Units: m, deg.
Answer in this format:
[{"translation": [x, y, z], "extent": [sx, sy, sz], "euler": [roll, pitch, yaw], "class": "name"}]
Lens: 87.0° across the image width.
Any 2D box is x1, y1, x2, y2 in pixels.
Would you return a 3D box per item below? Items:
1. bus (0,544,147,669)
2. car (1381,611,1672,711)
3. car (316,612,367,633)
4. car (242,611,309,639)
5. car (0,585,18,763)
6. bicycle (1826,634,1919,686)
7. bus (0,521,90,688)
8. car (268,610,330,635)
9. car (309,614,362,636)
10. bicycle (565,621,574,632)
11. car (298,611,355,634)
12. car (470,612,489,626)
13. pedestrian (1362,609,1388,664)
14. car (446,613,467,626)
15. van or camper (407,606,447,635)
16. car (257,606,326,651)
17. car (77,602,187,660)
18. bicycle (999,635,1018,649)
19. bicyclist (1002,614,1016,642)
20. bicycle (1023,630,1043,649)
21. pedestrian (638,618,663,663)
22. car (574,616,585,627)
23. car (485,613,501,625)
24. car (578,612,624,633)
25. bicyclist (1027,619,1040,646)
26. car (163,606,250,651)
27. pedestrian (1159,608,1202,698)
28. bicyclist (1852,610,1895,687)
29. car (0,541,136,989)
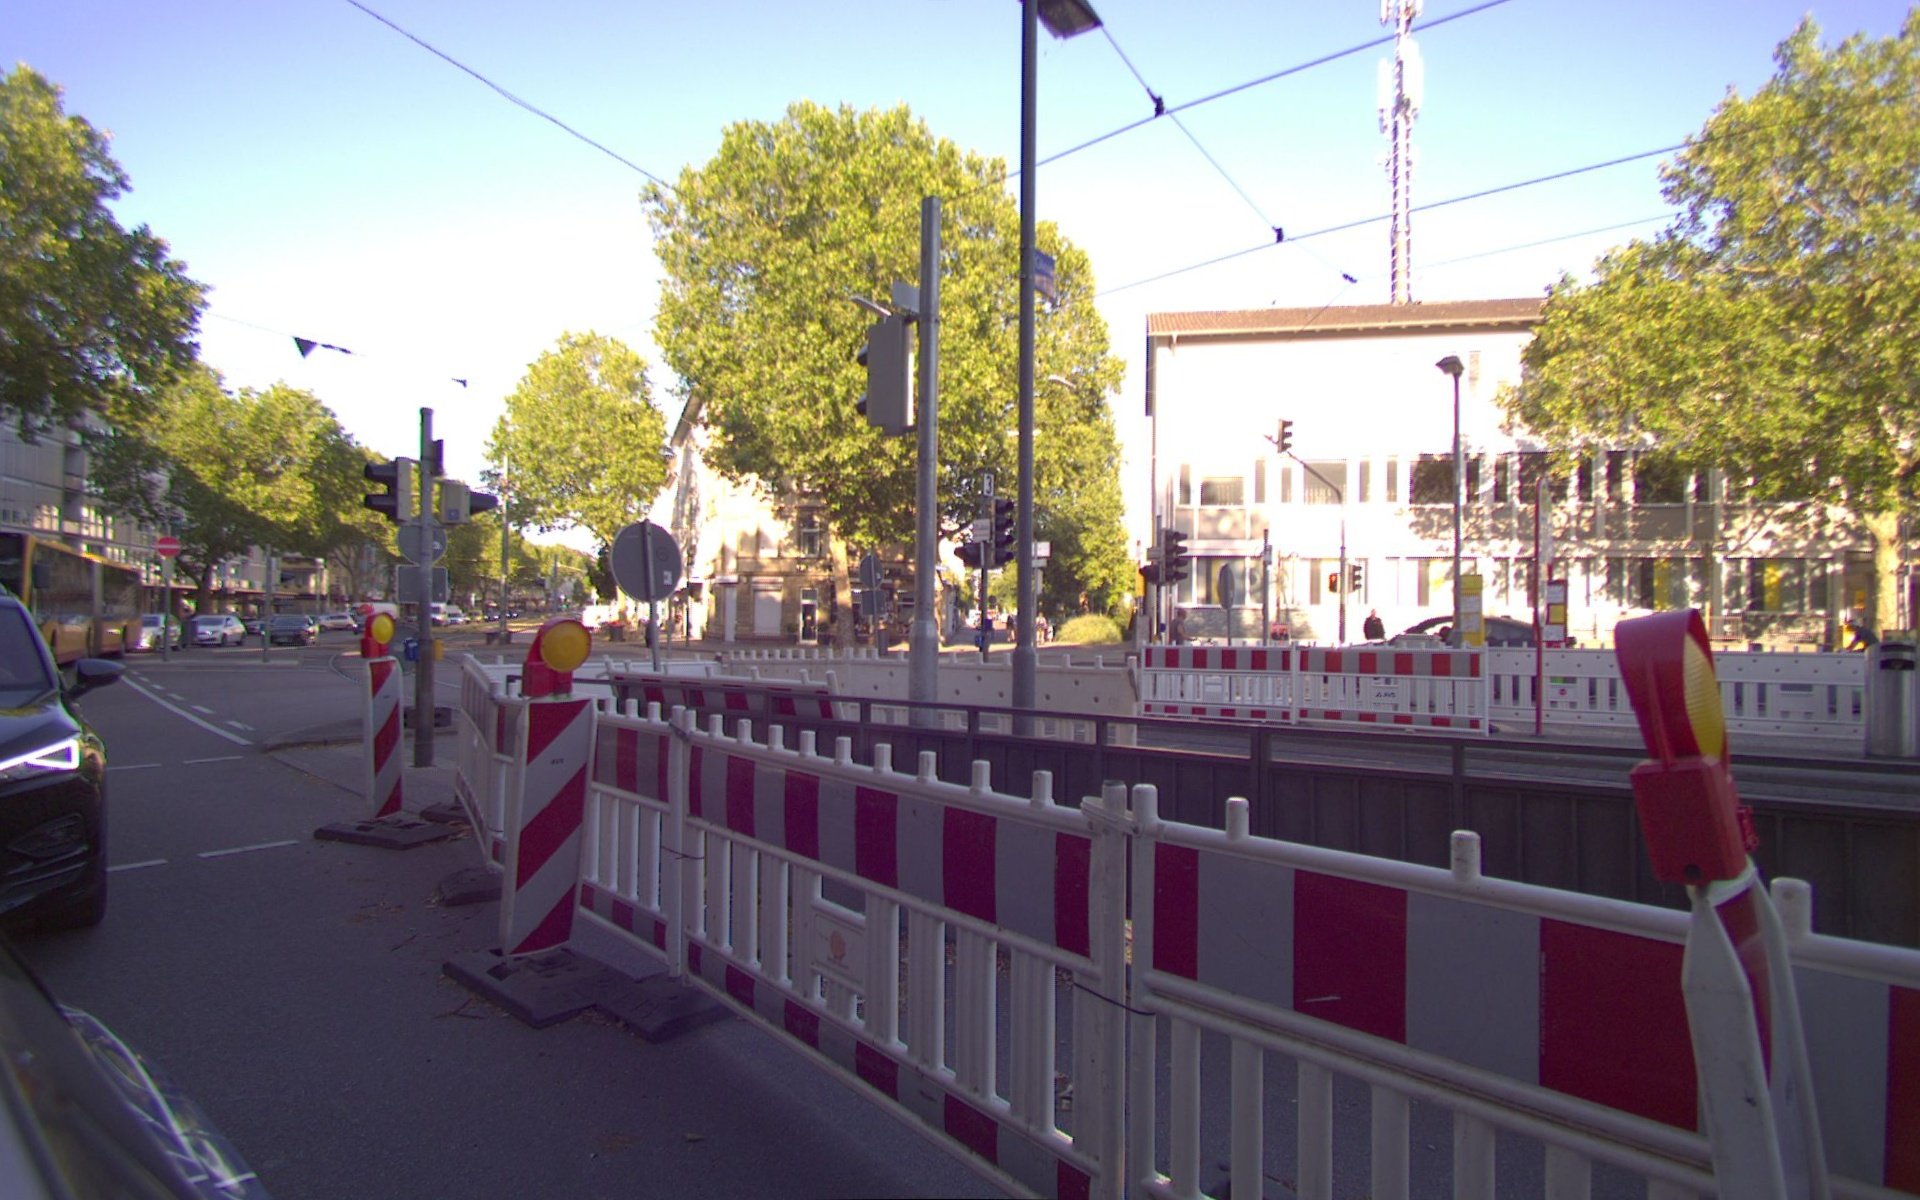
[{"translation": [-26.007, 0.239, 29.223], "extent": [2.676, 3.130, 8.622], "euler": [1, -2, -31], "class": "bus"}, {"translation": [10.576, 1.058, 19.069], "extent": [4.552, 1.674, 1.974], "euler": [-1, -2, 38], "class": "car"}, {"translation": [-60.239, 2.214, 98.532], "extent": [3.938, 2.029, 2.002], "euler": [1, -2, -42], "class": "car"}, {"translation": [-50.586, 1.874, 74.872], "extent": [3.932, 2.029, 2.006], "euler": [1, -2, -31], "class": "car"}, {"translation": [-11.016, 0.691, 10.074], "extent": [4.073, 1.656, 1.973], "euler": [-1, -2, 41], "class": "car"}, {"translation": [19.916, 1.295, 22.023], "extent": [1.621, 1.073, 0.543], "euler": [-1, -2, 41], "class": "bicycle"}, {"translation": [-21.115, 0.138, 21.956], "extent": [2.678, 3.130, 8.641], "euler": [1, -2, -36], "class": "bus"}, {"translation": [-53.980, 1.842, 82.675], "extent": [3.938, 2.029, 2.002], "euler": [1, -2, -42], "class": "car"}, {"translation": [-58.170, 2.326, 94.308], "extent": [3.938, 2.029, 2.002], "euler": [1, -2, -42], "class": "car"}, {"translation": [-43.542, 2.908, 112.779], "extent": [0.837, 1.202, 2.474], "euler": [1, -1, -23], "class": "bicycle"}, {"translation": [-56.041, 2.015, 89.566], "extent": [3.938, 2.029, 2.002], "euler": [1, -2, -42], "class": "car"}, {"translation": [-62.518, 2.442, 131.704], "extent": [1.809, 1.816, 4.143], "euler": [1, -2, -19], "class": "car"}, {"translation": [12.071, 1.057, 29.447], "extent": [0.649, 1.564, 0.563], "euler": [-1, -2, 28], "class": "pedestrian"}, {"translation": [-57.382, 2.232, 115.304], "extent": [1.675, 1.481, 3.776], "euler": [1, -2, -19], "class": "car"}, {"translation": [-52.197, 1.984, 99.282], "extent": [2.385, 2.739, 6.151], "euler": [1, -1, -18], "class": "van or camper"}, {"translation": [-31.660, 1.336, 48.066], "extent": [1.965, 2.029, 4.013], "euler": [1, -1, -22], "class": "car"}, {"translation": [-30.869, 1.132, 37.870], "extent": [1.965, 2.029, 4.111], "euler": [1, -1, -21], "class": "car"}, {"translation": [3.012, 2.599, 62.643], "extent": [0.676, 0.788, 1.979], "euler": [0, -1, 17], "class": "bicycle"}, {"translation": [3.054, 1.719, 62.791], "extent": [0.668, 1.741, 0.761], "euler": [0, -2, 17], "class": "bicyclist"}, {"translation": [4.166, 2.226, 57.480], "extent": [0.672, 1.039, 2.178], "euler": [0, -1, 16], "class": "bicycle"}, {"translation": [-10.658, 1.391, 34.872], "extent": [0.594, 1.545, 0.746], "euler": [1, -2, -37], "class": "pedestrian"}, {"translation": [-70.719, 4.047, 188.124], "extent": [1.965, 2.029, 4.013], "euler": [1, -1, -20], "class": "car"}, {"translation": [-71.465, 2.950, 154.871], "extent": [1.809, 1.816, 4.143], "euler": [1, -2, -19], "class": "car"}, {"translation": [-34.405, 2.162, 97.087], "extent": [1.990, 2.029, 3.963], "euler": [0, -2, 27], "class": "car"}, {"translation": [4.173, 1.842, 57.557], "extent": [0.571, 1.538, 0.841], "euler": [0, -2, 17], "class": "bicyclist"}, {"translation": [-34.883, 1.312, 46.988], "extent": [1.966, 2.029, 4.012], "euler": [1, -1, -17], "class": "car"}, {"translation": [4.399, 1.042, 20.215], "extent": [0.545, 1.760, 0.693], "euler": [1, -2, -24], "class": "pedestrian"}, {"translation": [19.891, 1.045, 22.046], "extent": [0.643, 1.626, 0.544], "euler": [-1, -2, 41], "class": "bicyclist"}, {"translation": [-5.517, 0.642, 4.815], "extent": [3.998, 1.719, 1.818], "euler": [-1, -2, 41], "class": "car"}]
